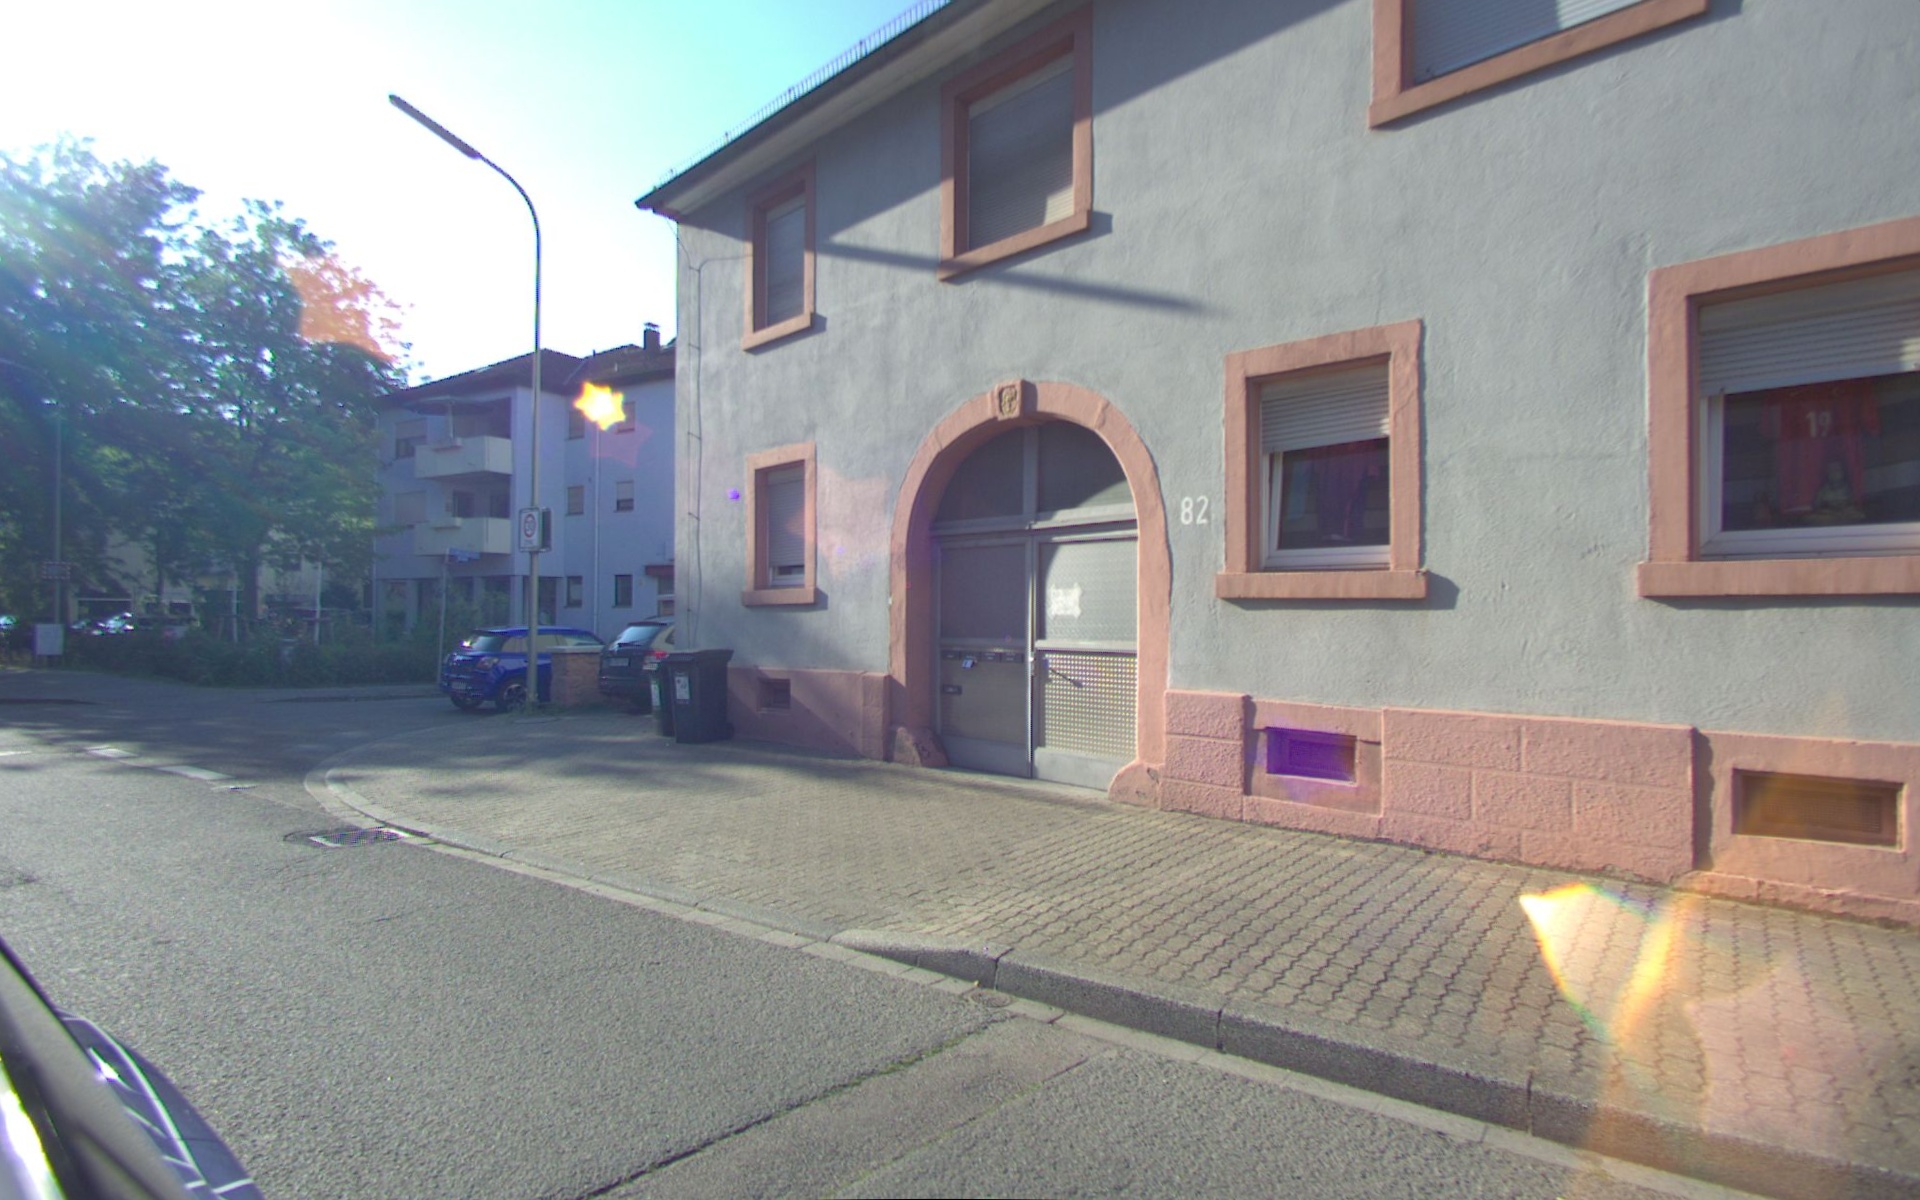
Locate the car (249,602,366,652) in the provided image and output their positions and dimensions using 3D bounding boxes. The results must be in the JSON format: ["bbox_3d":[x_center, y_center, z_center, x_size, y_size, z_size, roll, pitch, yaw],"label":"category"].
[{"bbox_3d":[-26.711,1.099,41.422,4.298,1.963,2.008,0,-2,24],"label":"car"}]

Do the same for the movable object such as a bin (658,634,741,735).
[{"bbox_3d":[-3.007,0.949,11.669,0.750,1.102,0.593,-1,-1,37],"label":"movable object such as a bin"}]

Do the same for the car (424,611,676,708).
[{"bbox_3d":[-7.317,1.052,18.331,1.997,1.542,3.732,-2,-3,37],"label":"car"}]

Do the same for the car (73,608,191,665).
[{"bbox_3d":[-29.751,1.303,36.317,4.890,1.909,1.829,-1,-2,33],"label":"car"}]

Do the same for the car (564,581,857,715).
[{"bbox_3d":[-3.957,0.705,16.674,1.985,1.808,4.322,-4,-1,38],"label":"car"}]

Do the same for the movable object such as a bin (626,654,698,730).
[{"bbox_3d":[-3.632,1.107,12.349,0.605,0.879,0.593,-1,-2,35],"label":"movable object such as a bin"}]
